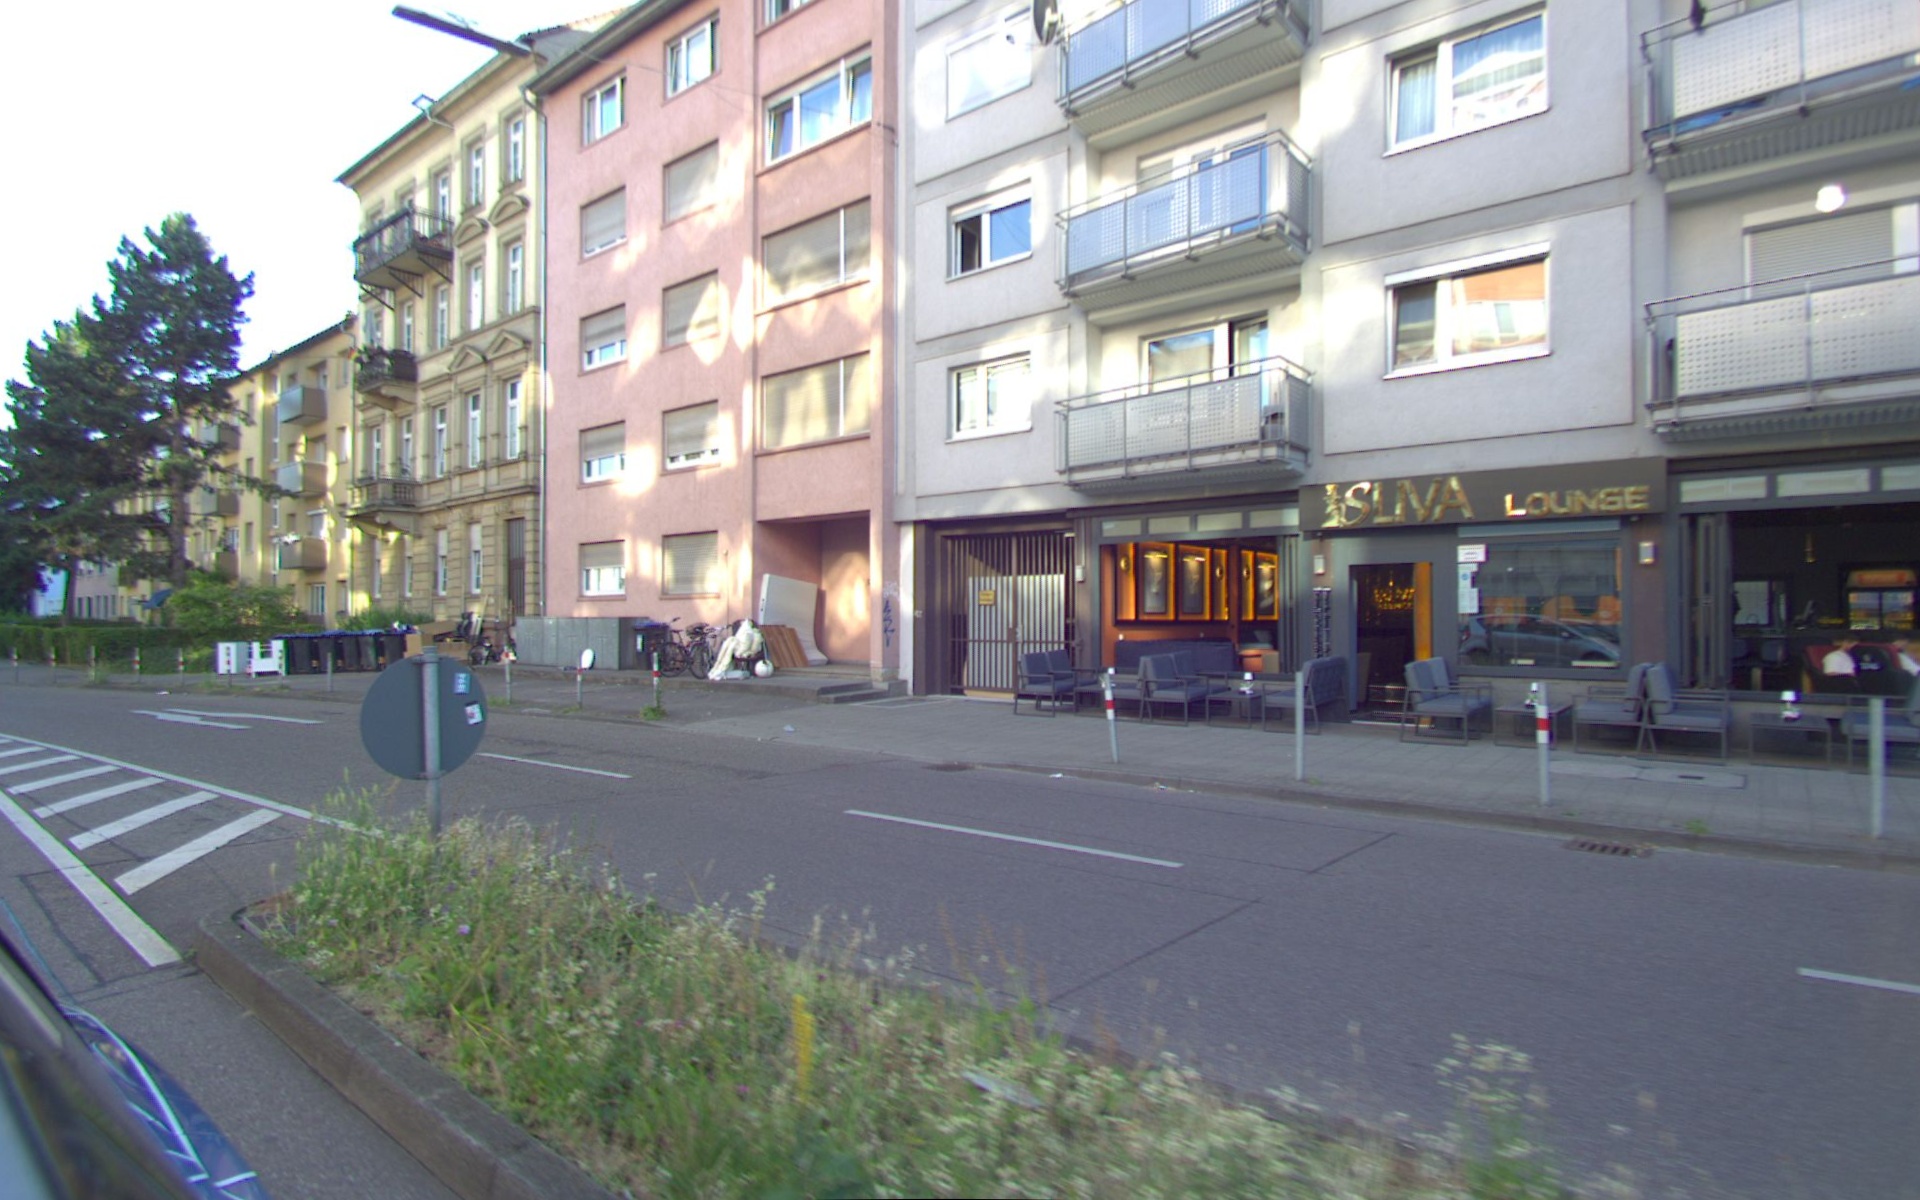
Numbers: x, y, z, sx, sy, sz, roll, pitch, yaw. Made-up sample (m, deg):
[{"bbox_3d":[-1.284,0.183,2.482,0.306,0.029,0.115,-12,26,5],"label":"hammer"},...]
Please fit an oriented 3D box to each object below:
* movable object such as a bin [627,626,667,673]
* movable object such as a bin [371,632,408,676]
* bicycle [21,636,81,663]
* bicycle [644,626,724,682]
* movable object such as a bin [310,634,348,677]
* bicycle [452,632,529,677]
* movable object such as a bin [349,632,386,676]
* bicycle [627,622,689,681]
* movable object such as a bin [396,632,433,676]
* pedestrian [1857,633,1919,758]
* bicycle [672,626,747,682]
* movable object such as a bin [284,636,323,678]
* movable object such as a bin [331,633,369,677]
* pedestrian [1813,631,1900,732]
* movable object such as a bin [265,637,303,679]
[{"bbox_3d":[-7.117,1.116,23.035,0.588,1.039,0.668,-1,-2,40],"label":"movable object such as a bin"},{"bbox_3d":[-15.133,1.438,26.863,0.577,1.119,0.640,-1,1,9],"label":"movable object such as a bin"},{"bbox_3d":[-36.558,1.972,40.708,0.589,0.989,1.740,-2,-1,40],"label":"bicycle"},{"bbox_3d":[-5.681,1.092,20.925,0.548,1.048,1.656,-1,0,33],"label":"bicycle"},{"bbox_3d":[-16.982,1.487,27.248,0.577,1.119,0.640,-1,1,9],"label":"movable object such as a bin"},{"bbox_3d":[-12.165,1.401,26.274,0.661,0.974,1.633,-2,4,38],"label":"bicycle"},{"bbox_3d":[-15.734,1.430,26.882,0.577,1.119,0.640,-1,1,9],"label":"movable object such as a bin"},{"bbox_3d":[-6.357,1.060,21.371,0.491,1.169,1.668,-1,0,14],"label":"bicycle"},{"bbox_3d":[-14.475,1.417,26.854,0.577,1.119,0.640,-1,1,9],"label":"movable object such as a bin"},{"bbox_3d":[9.533,0.946,10.167,0.546,1.212,0.521,-1,-2,8],"label":"pedestrian"},{"bbox_3d":[-5.024,1.065,20.419,0.546,1.048,1.661,-1,0,25],"label":"bicycle"},{"bbox_3d":[-17.700,1.540,27.298,0.620,1.076,0.640,-1,1,10],"label":"movable object such as a bin"},{"bbox_3d":[-16.349,1.467,27.132,0.577,1.119,0.640,-1,1,9],"label":"movable object such as a bin"},{"bbox_3d":[9.992,0.892,11.295,0.518,1.088,0.549,-1,-2,17],"label":"pedestrian"},{"bbox_3d":[-18.341,1.571,27.467,0.577,1.091,0.640,-1,1,9],"label":"movable object such as a bin"}]
